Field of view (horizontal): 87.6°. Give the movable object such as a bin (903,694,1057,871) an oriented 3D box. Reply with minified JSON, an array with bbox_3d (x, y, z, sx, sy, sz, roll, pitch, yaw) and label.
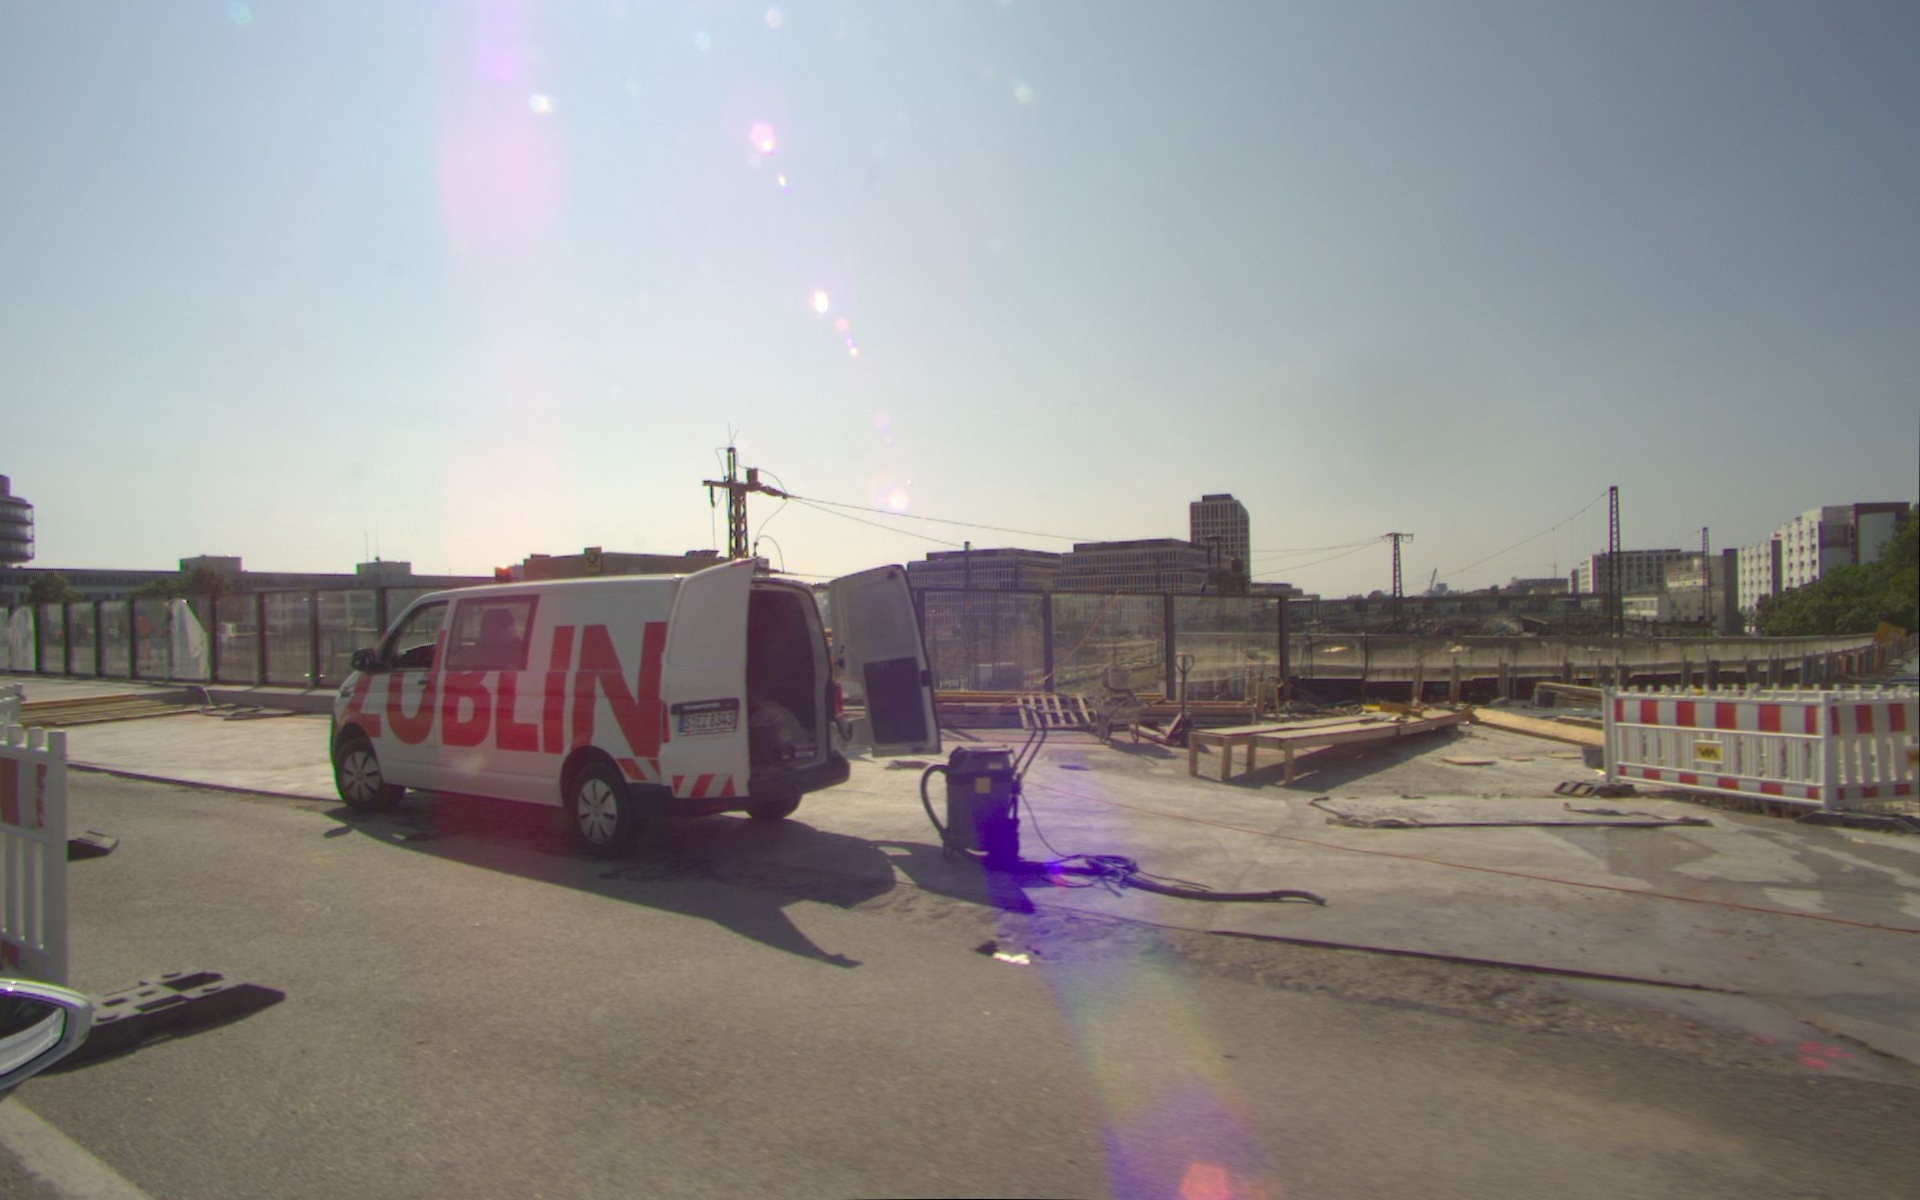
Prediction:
[{"bbox_3d":[0.116,1.254,7.143,0.925,1.088,0.891,0,-1,-12],"label":"movable object such as a bin"}]

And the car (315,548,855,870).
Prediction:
[{"bbox_3d":[-3.353,0.768,8.549,4.823,2.059,1.874,-1,-1,34],"label":"car"}]
